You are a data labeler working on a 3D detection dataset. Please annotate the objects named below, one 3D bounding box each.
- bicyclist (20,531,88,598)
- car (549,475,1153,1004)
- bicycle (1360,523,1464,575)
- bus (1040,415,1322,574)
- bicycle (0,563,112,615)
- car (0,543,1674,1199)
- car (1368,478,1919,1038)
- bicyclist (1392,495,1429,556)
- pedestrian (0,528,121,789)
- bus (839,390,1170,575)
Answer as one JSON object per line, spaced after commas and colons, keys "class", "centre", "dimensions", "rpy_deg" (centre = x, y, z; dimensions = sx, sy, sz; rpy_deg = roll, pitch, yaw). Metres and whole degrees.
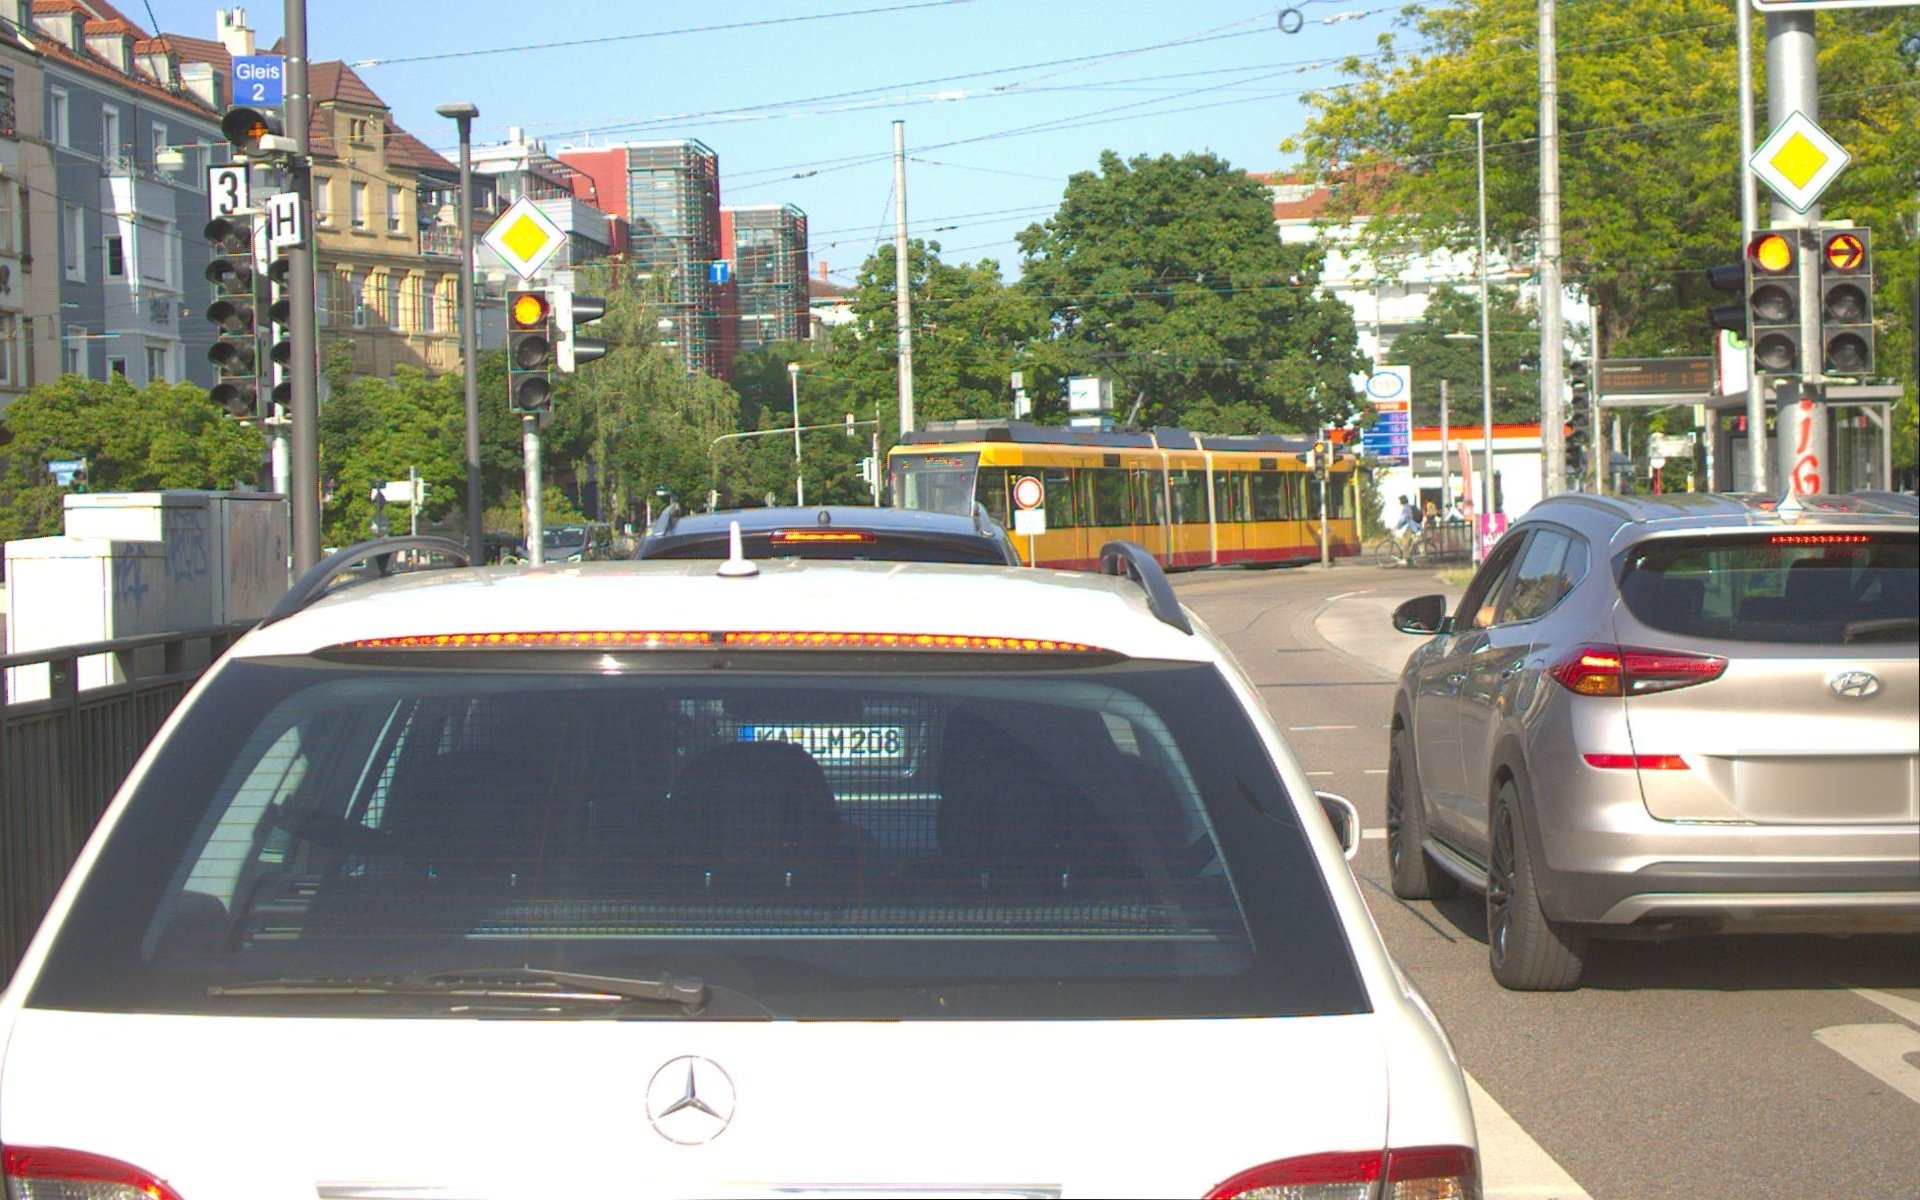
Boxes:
{"class": "bicyclist", "centre": [-17.469, -0.693, 66.305], "dimensions": [0.763, 1.257, 1.174], "rpy_deg": [-1, 1, 13]}
{"class": "car", "centre": [-0.360, 0.401, 12.656], "dimensions": [1.885, 1.645, 3.648], "rpy_deg": [1, 1, 0]}
{"class": "bicycle", "centre": [11.062, -1.255, 84.102], "dimensions": [2.483, 1.209, 0.806], "rpy_deg": [-1, 1, 8]}
{"class": "bus", "centre": [5.649, -2.463, 84.508], "dimensions": [3.112, 3.593, 12.577], "rpy_deg": [1, 1, 22]}
{"class": "bicycle", "centre": [-17.440, -0.229, 66.377], "dimensions": [0.785, 0.911, 2.996], "rpy_deg": [-1, 1, 13]}
{"class": "car", "centre": [-0.262, 0.660, 5.000], "dimensions": [1.796, 1.465, 3.648], "rpy_deg": [0, 1, -1]}
{"class": "car", "centre": [2.636, 0.423, 12.130], "dimensions": [1.885, 1.645, 3.648], "rpy_deg": [-2, 1, 0]}
{"class": "bicyclist", "centre": [11.019, -1.824, 84.102], "dimensions": [0.861, 1.476, 0.789], "rpy_deg": [-1, 1, 7]}
{"class": "pedestrian", "centre": [-5.636, 0.353, 21.543], "dimensions": [0.612, 1.593, 0.633], "rpy_deg": [-2, 1, -7]}
{"class": "bus", "centre": [1.201, -2.339, 72.840], "dimensions": [3.112, 3.593, 12.362], "rpy_deg": [1, 1, 20]}
